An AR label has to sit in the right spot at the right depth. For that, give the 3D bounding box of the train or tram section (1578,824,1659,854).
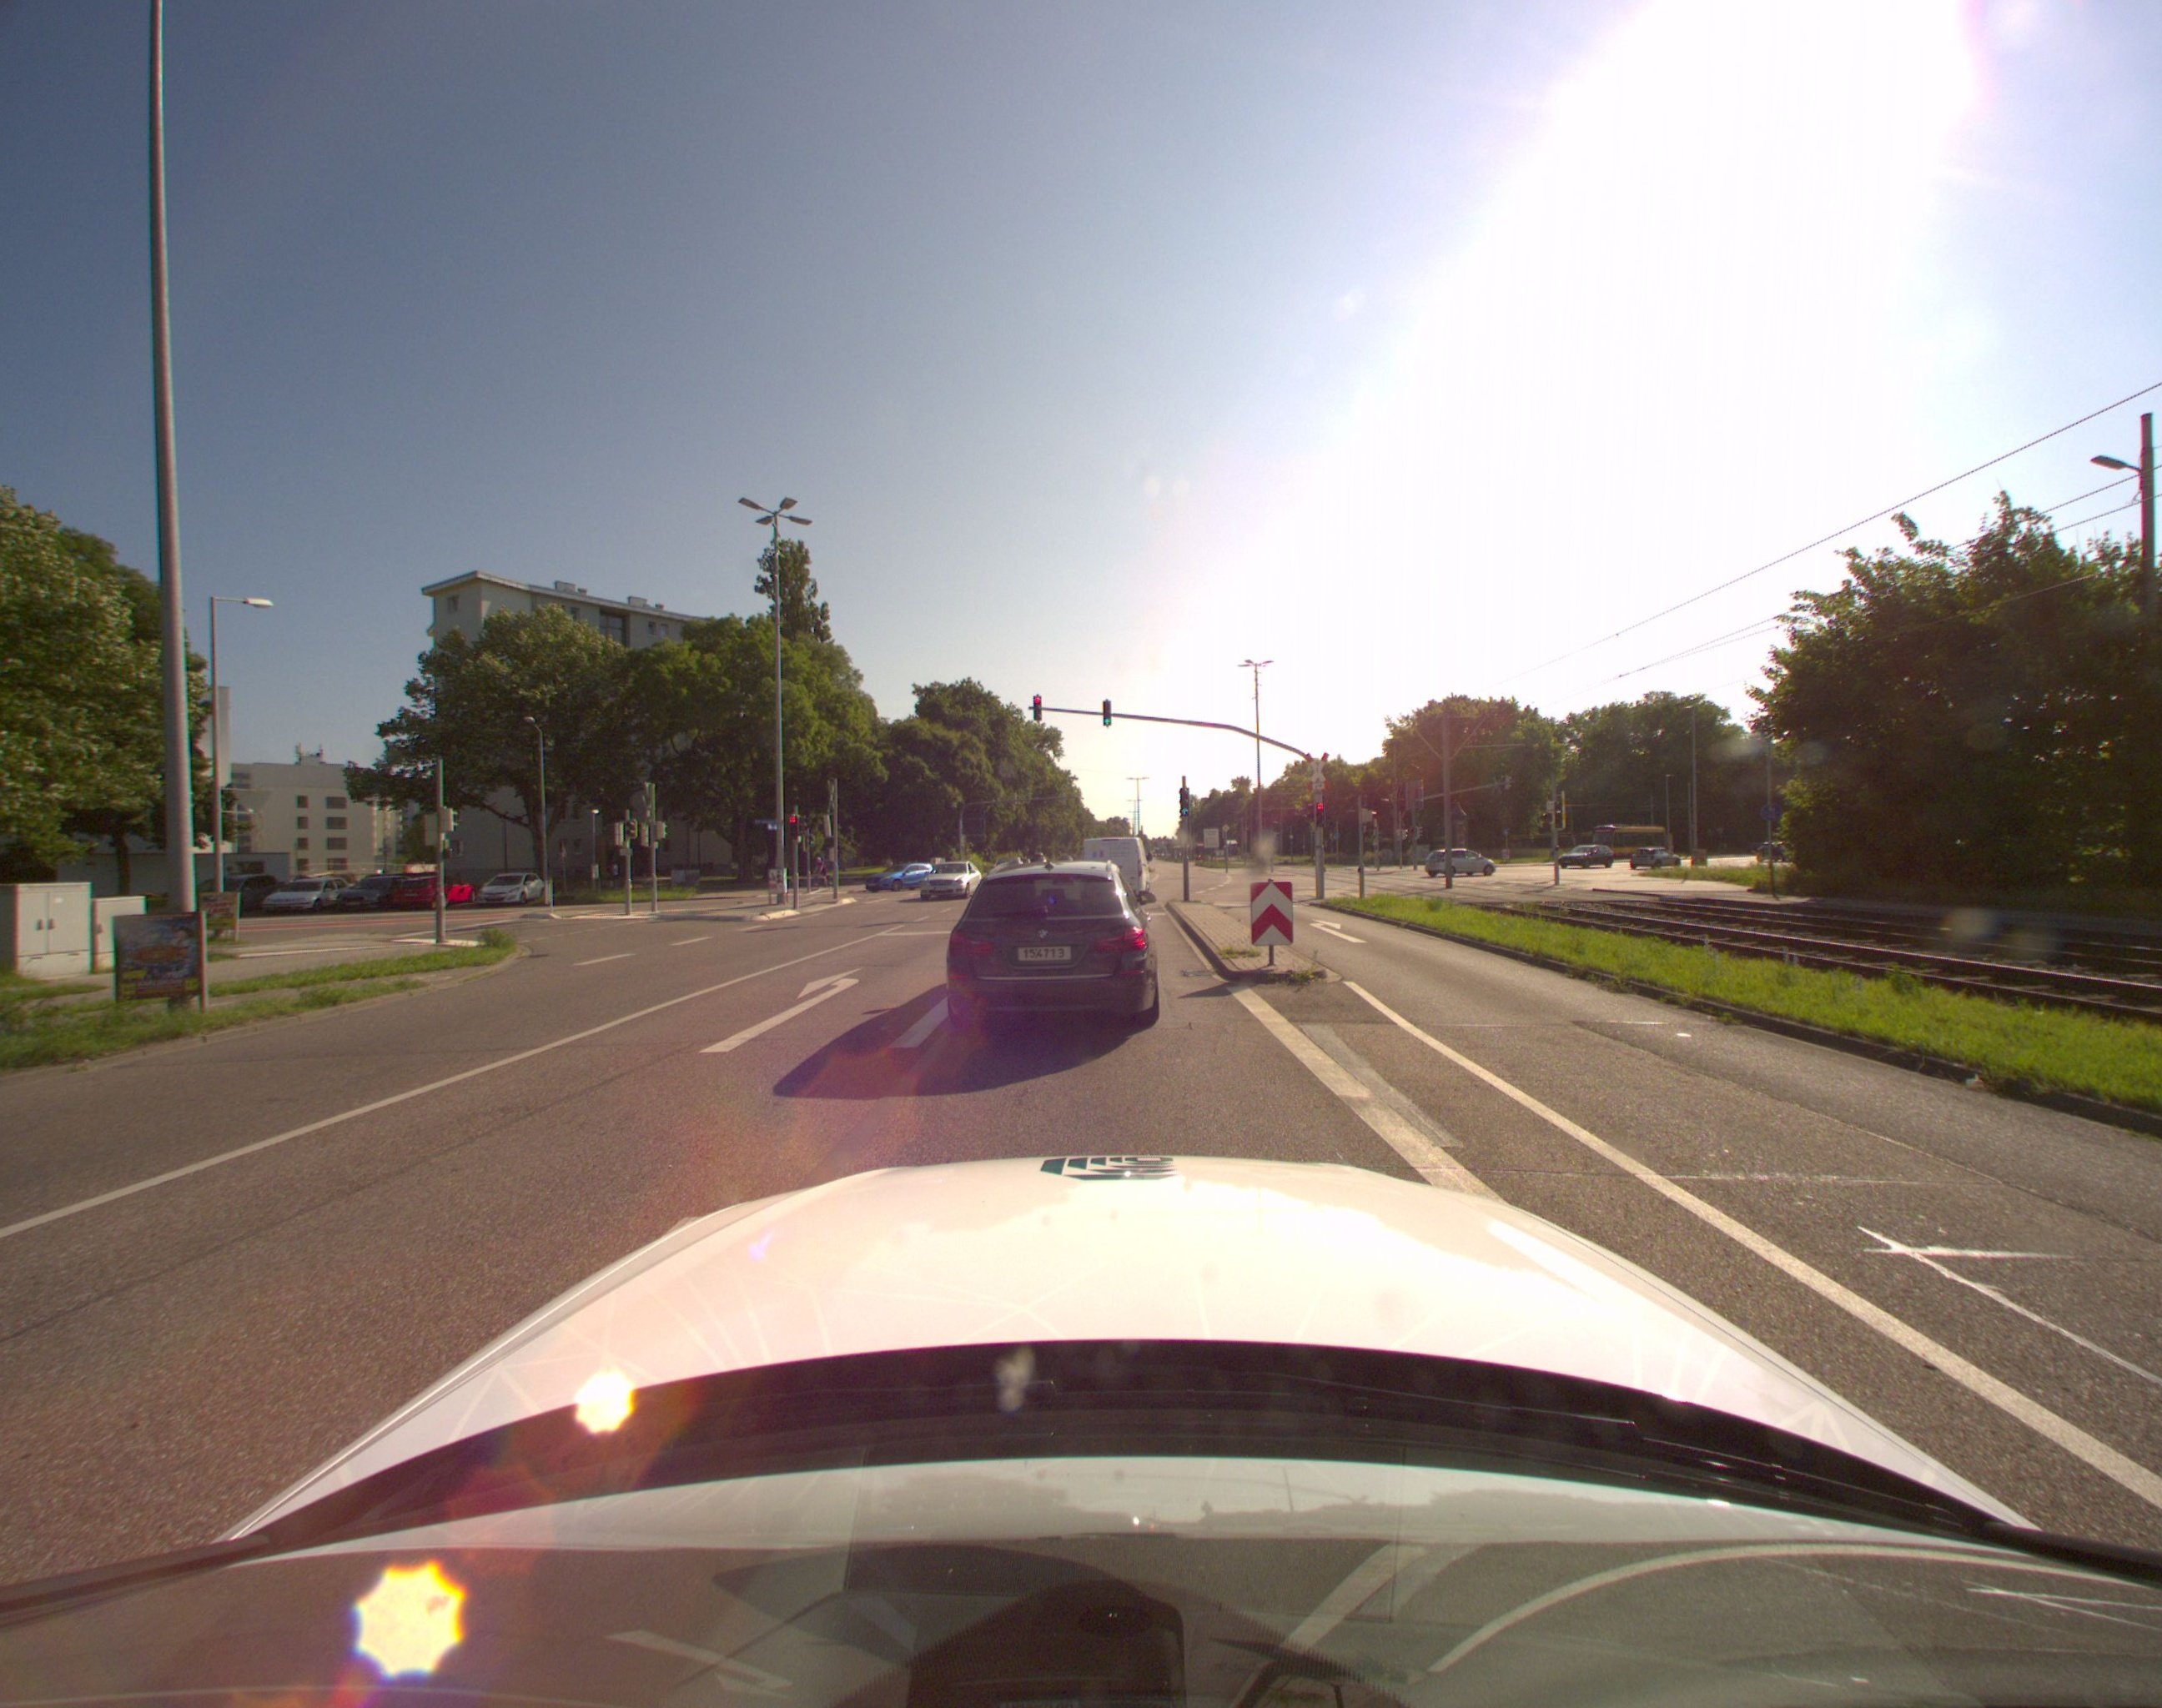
[{"bbox_3d":[69.673,-1.871,105.985,3.031,3.579,12.240,-1,0,3],"label":"train or tram section"}]

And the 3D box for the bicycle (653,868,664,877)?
[{"bbox_3d":[-34.301,1.519,66.173,0.587,0.708,2.215,-1,0,-33],"label":"bicycle"}]

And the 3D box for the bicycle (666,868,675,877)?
[{"bbox_3d":[-33.550,1.515,66.550,0.508,0.708,2.094,-1,0,-33],"label":"bicycle"}]

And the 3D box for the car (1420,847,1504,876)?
[{"bbox_3d":[22.142,0.400,47.364,4.193,1.563,1.848,-1,0,-12],"label":"car"}]

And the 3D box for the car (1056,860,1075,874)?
[{"bbox_3d":[-1.959,1.659,104.238,1.979,1.659,4.392,0,0,6],"label":"car"}]

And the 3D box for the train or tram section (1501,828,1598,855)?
[{"bbox_3d":[67.351,-1.767,117.493,3.064,3.579,12.108,-1,0,-31],"label":"train or tram section"}]

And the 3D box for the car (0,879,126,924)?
[{"bbox_3d":[-44.361,2.014,35.156,1.785,1.477,4.785,-1,3,-19],"label":"car"}]

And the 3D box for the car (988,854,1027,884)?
[{"bbox_3d":[-4.308,0.856,48.300,1.738,1.562,4.003,-3,0,3],"label":"car"}]

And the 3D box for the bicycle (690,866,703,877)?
[{"bbox_3d":[-31.932,1.474,67.578,0.678,0.875,2.460,-1,0,-33],"label":"bicycle"}]

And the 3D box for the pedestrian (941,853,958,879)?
[{"bbox_3d":[-8.860,0.813,54.866,0.811,1.752,0.933,-1,0,7],"label":"pedestrian"}]

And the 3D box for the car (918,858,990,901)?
[{"bbox_3d":[-4.885,0.945,31.942,1.694,1.465,4.375,-3,0,5],"label":"car"}]

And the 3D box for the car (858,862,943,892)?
[{"bbox_3d":[-9.360,1.180,42.544,1.762,1.414,4.272,-1,0,35],"label":"car"}]

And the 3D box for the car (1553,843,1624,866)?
[{"bbox_3d":[35.963,0.033,57.681,4.871,1.563,2.027,-1,0,-26],"label":"car"}]

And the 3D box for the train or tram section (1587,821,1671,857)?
[{"bbox_3d":[57.759,-1.599,85.706,11.898,3.579,3.022,-1,0,-34],"label":"train or tram section"}]

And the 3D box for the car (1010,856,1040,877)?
[{"bbox_3d":[-4.181,0.921,61.519,1.882,1.474,4.099,-2,0,0],"label":"car"}]

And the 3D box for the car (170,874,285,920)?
[{"bbox_3d":[-38.055,1.865,36.457,1.783,1.811,3.977,-1,0,-16],"label":"car"}]

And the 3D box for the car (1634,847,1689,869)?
[{"bbox_3d":[39.108,0.260,54.860,3.538,1.383,1.592,-1,0,-28],"label":"car"}]

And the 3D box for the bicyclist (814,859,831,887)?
[{"bbox_3d":[-14.668,1.093,46.232,0.601,1.560,0.606,-1,0,30],"label":"bicyclist"}]

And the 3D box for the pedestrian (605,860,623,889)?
[{"bbox_3d":[-28.101,1.219,48.989,0.619,1.713,0.707,-1,0,14],"label":"pedestrian"}]

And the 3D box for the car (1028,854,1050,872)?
[{"bbox_3d":[-3.925,0.836,76.186,1.783,1.520,3.999,-2,0,0],"label":"car"}]

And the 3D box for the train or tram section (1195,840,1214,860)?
[{"bbox_3d":[22.881,-0.670,151.446,2.782,3.618,12.976,0,-1,6],"label":"train or tram section"}]

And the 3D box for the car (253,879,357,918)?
[{"bbox_3d":[-35.410,1.973,37.290,1.783,1.521,3.977,-1,0,-16],"label":"car"}]

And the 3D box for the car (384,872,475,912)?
[{"bbox_3d":[-30.845,1.755,38.702,1.782,1.415,3.982,-1,4,-14],"label":"car"}]

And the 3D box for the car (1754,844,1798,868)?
[{"bbox_3d":[55.717,0.154,65.228,4.641,1.723,1.631,3,-2,-36],"label":"car"}]

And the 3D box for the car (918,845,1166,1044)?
[{"bbox_3d":[-0.240,0.707,8.355,1.896,1.506,4.067,-1,0,2],"label":"car"}]

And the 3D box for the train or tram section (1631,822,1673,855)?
[{"bbox_3d":[66.115,-1.741,94.506,3.015,3.579,12.308,-1,0,31],"label":"train or tram section"}]

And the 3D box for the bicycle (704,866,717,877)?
[{"bbox_3d":[-31.021,1.456,68.167,0.673,0.919,2.382,-1,0,-33],"label":"bicycle"}]

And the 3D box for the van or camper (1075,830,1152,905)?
[{"bbox_3d":[1.120,0.395,25.477,1.983,2.096,4.607,-1,0,7],"label":"van or camper"}]

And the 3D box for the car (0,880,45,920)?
[{"bbox_3d":[-46.075,2.048,33.604,1.785,1.476,4.686,-1,3,-19],"label":"car"}]

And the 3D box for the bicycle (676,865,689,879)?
[{"bbox_3d":[-32.712,1.463,66.838,0.615,1.066,1.896,0,-2,-34],"label":"bicycle"}]

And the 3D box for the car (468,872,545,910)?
[{"bbox_3d":[-27.859,1.733,39.649,1.783,1.439,3.980,-1,3,-15],"label":"car"}]

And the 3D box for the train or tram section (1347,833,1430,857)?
[{"bbox_3d":[50.407,-1.439,133.775,12.279,3.579,3.073,-1,0,33],"label":"train or tram section"}]

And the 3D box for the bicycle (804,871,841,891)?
[{"bbox_3d":[-14.666,1.518,46.219,0.614,1.040,2.085,-1,0,30],"label":"bicycle"}]

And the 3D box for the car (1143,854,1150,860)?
[{"bbox_3d":[16.506,0.678,204.960,1.786,1.486,3.902,-1,0,3],"label":"car"}]

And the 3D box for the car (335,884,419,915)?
[{"bbox_3d":[-32.769,2.095,38.023,1.463,1.193,3.767,-1,0,-15],"label":"car"}]
